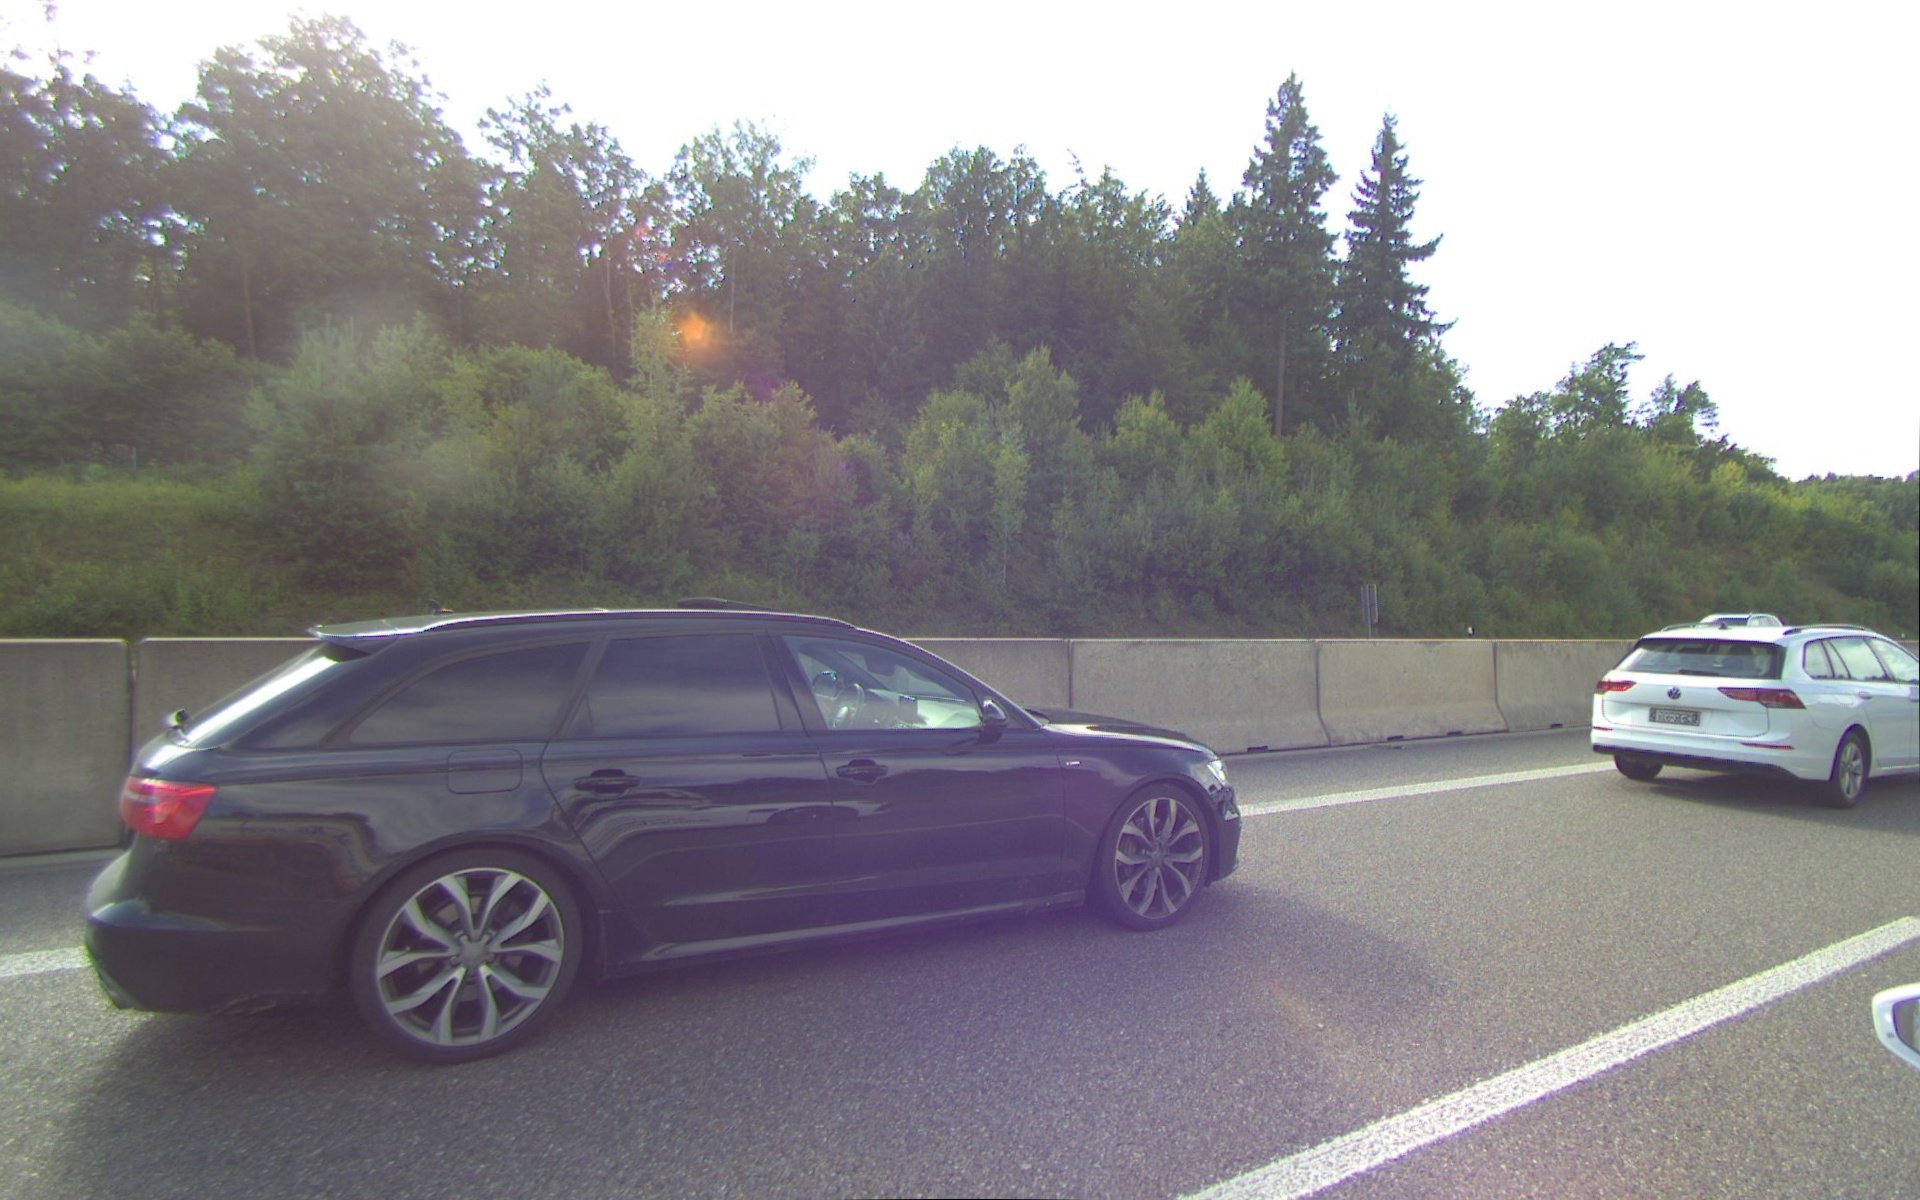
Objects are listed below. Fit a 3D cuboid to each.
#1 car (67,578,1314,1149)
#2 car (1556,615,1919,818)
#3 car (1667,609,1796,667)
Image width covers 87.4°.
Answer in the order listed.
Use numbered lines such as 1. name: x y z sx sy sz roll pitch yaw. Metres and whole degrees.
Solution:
1. car: -0.726 0.720 4.588 4.692 1.475 1.834 1 0 -31
2. car: 7.654 0.939 9.305 4.257 1.480 1.796 2 -1 -30
3. car: 26.341 1.270 34.237 4.868 1.834 1.842 1 0 -31
